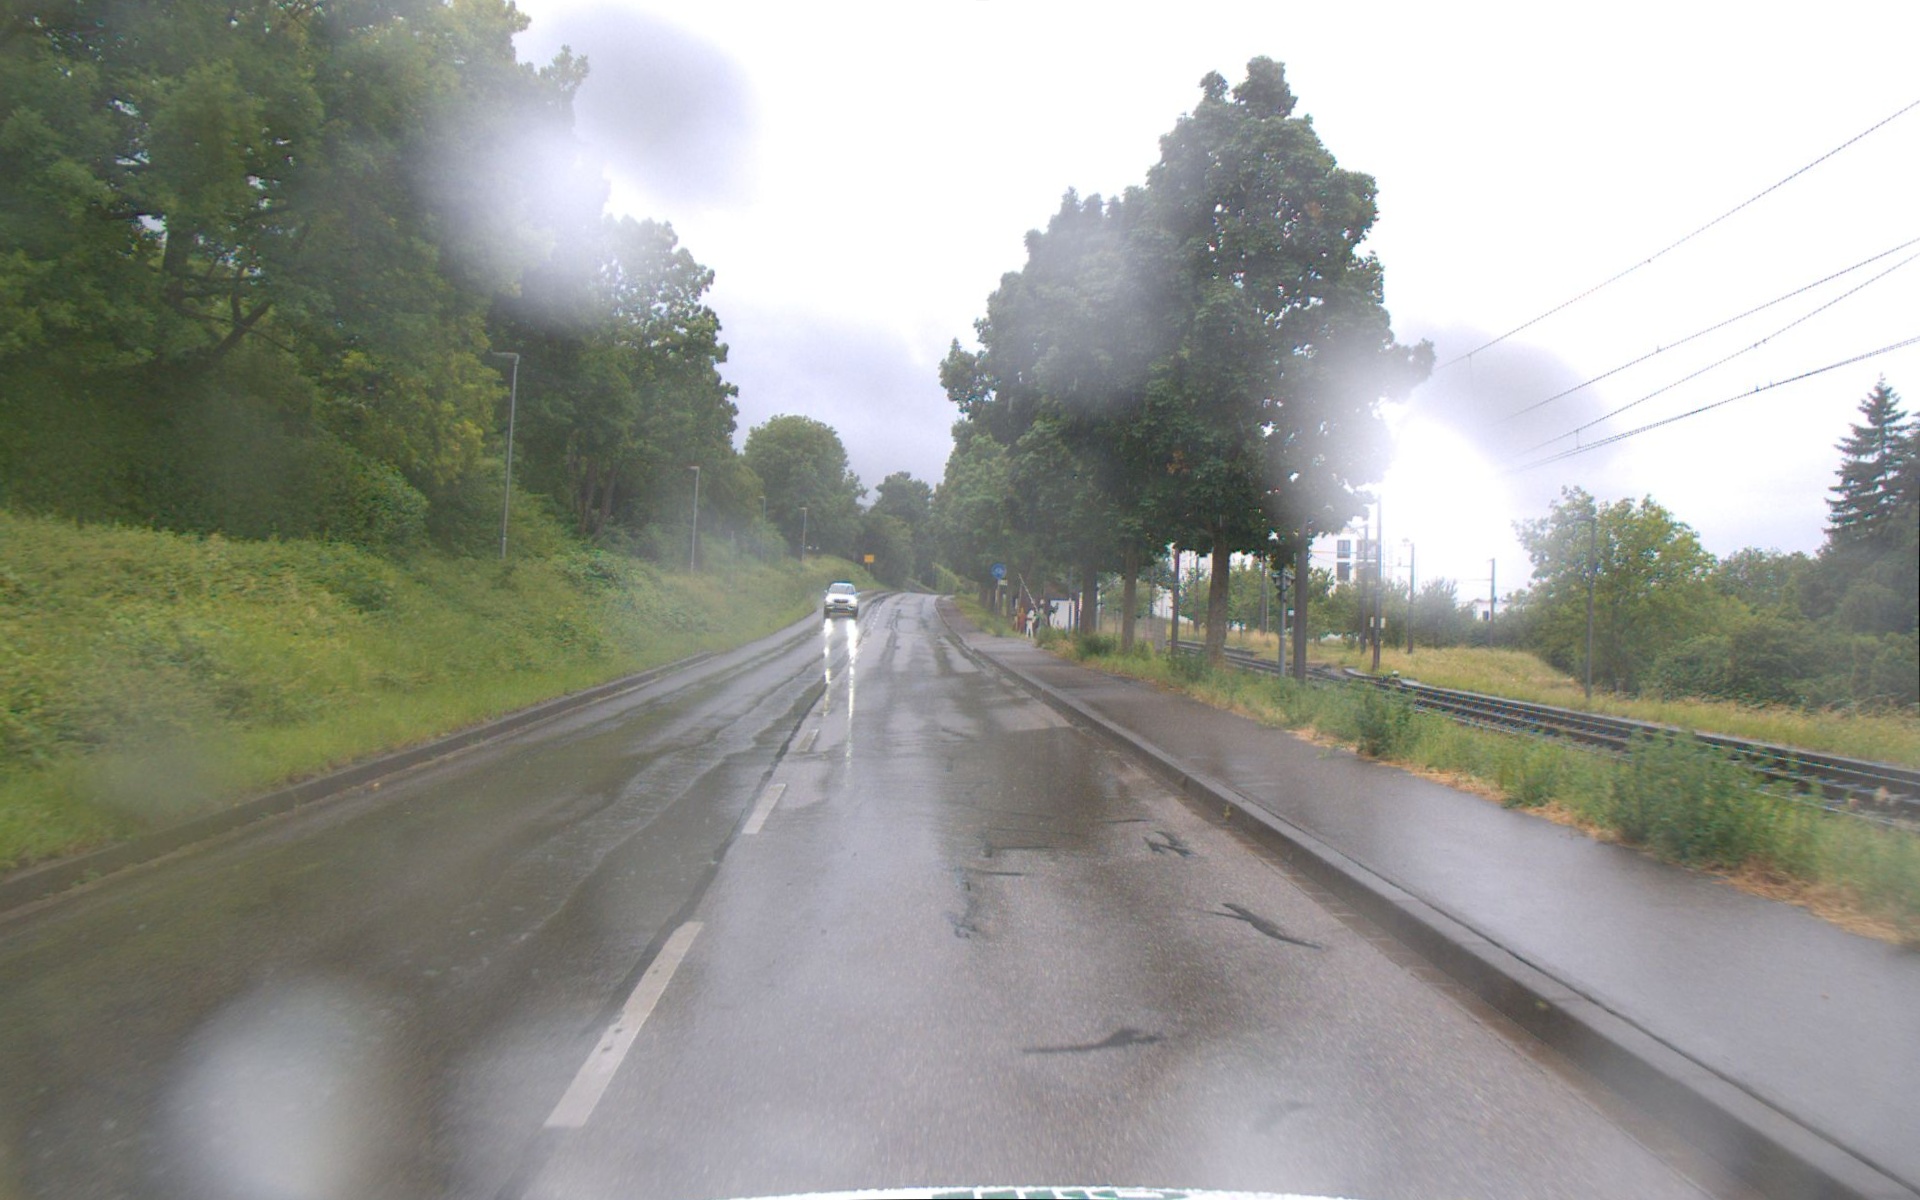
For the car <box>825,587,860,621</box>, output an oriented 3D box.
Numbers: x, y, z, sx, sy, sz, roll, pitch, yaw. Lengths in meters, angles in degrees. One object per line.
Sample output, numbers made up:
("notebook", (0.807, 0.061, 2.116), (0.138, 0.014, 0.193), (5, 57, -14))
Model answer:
("car", (-6.215, 0.206, 87.337), (1.710, 1.640, 4.084), (2, 1, -4))
